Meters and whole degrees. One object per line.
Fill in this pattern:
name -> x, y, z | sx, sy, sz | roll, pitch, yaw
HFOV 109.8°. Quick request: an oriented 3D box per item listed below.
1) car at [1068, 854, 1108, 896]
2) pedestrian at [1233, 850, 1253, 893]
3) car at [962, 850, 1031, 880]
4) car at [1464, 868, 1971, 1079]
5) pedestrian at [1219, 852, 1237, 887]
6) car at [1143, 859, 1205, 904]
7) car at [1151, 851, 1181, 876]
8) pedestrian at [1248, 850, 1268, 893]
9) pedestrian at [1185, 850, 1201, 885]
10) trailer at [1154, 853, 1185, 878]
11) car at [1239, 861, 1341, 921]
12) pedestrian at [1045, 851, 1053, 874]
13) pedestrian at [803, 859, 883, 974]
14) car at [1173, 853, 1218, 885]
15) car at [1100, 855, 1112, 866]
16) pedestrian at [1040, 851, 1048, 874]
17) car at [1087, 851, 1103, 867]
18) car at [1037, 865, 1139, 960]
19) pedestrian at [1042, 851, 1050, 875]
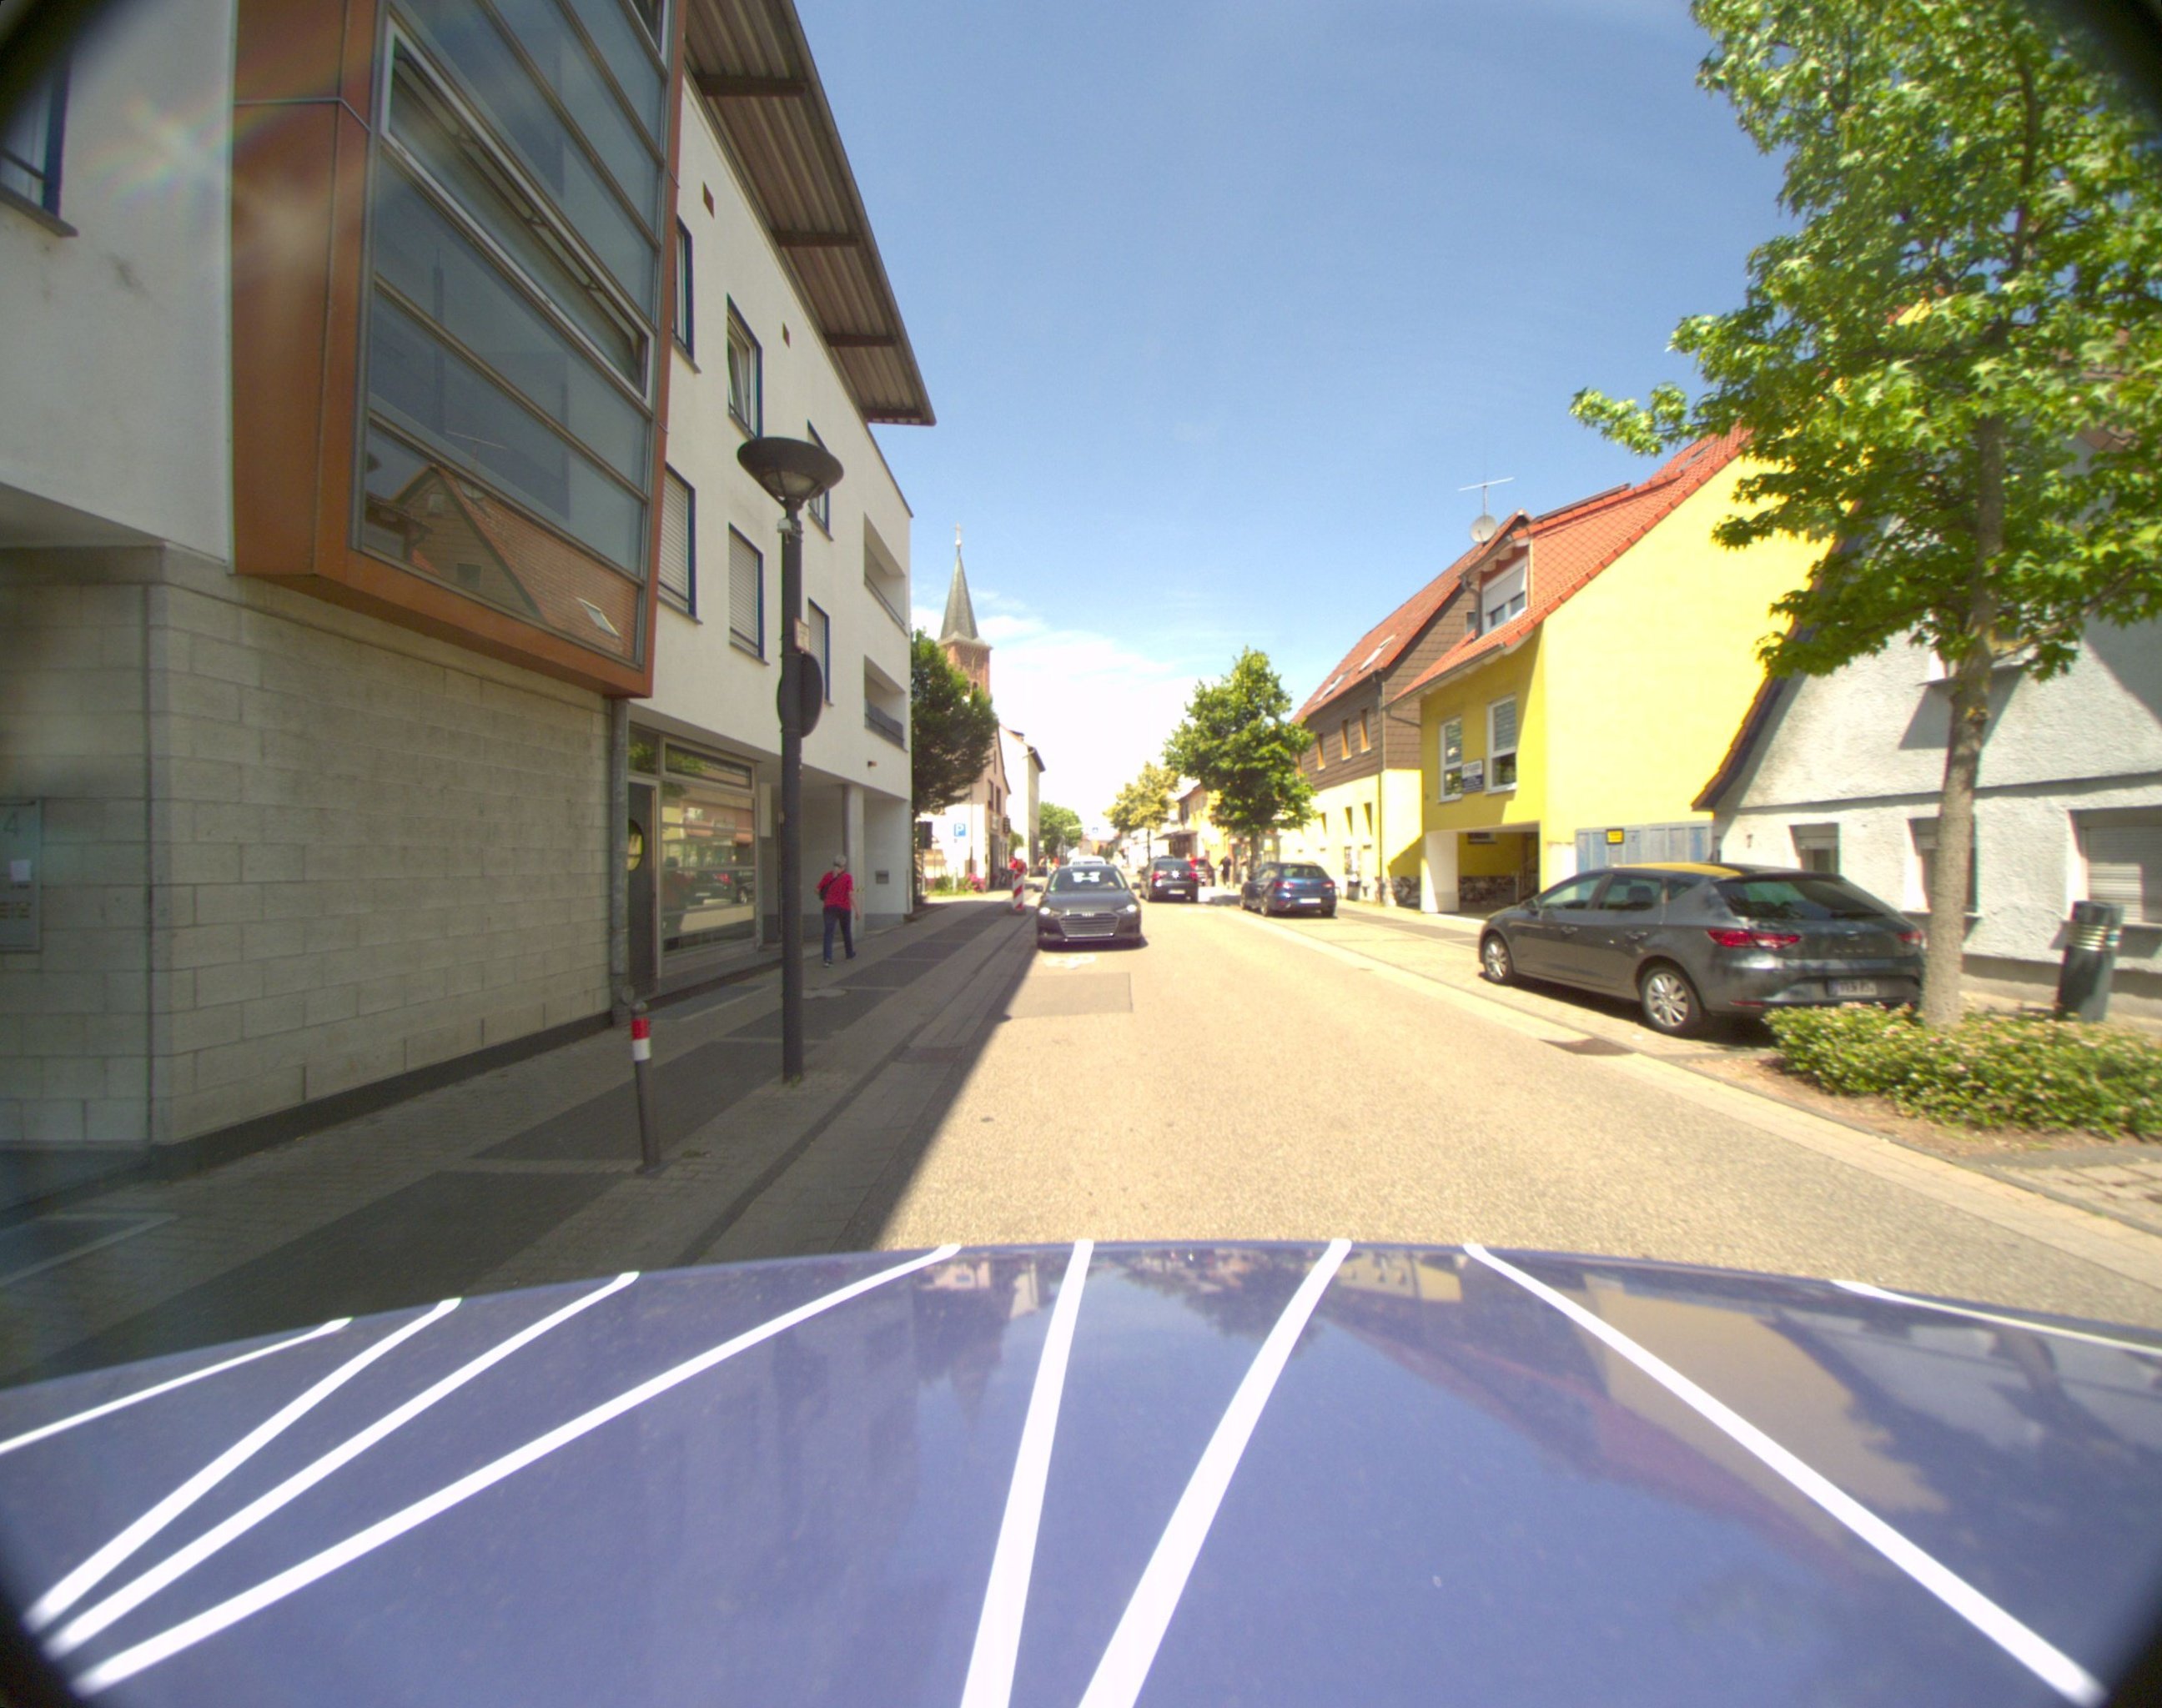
car -> 0.287, 0.816, 31.863 | 1.581, 1.620, 4.065 | 0, 0, 0
pedestrian -> 6.084, 0.651, 28.573 | 0.631, 1.592, 0.528 | -1, 1, 1
car -> -5.423, 0.703, 49.125 | 4.203, 1.849, 2.000 | 0, 0, 0
car -> 5.669, 0.913, 7.585 | 1.649, 1.422, 4.099 | -1, 0, 1
pedestrian -> 6.619, 0.692, 34.270 | 0.663, 1.592, 0.771 | -1, 1, 1
car -> 3.179, 0.905, 26.660 | 1.693, 1.464, 4.000 | 0, 0, 0
car -> 6.298, 0.679, 56.697 | 1.695, 1.742, 3.999 | -3, 0, -1
pedestrian -> 6.758, 0.664, 29.048 | 0.631, 1.592, 0.528 | -1, 1, 1
pedestrian -> 5.314, 0.625, 36.088 | 0.643, 1.645, 0.624 | 0, 1, 1
trailer -> 6.100, 0.767, 52.443 | 1.493, 1.571, 3.883 | -3, 0, -2
car -> 5.520, 0.930, 20.531 | 1.660, 1.399, 4.158 | -1, 0, 1
pedestrian -> -2.574, 0.675, 60.975 | 0.581, 1.875, 0.695 | 0, 1, 3
pedestrian -> -3.476, 0.887, 11.188 | 0.825, 1.579, 0.919 | 2, 1, 1
car -> 5.921, 0.755, 39.728 | 1.753, 1.566, 4.158 | -1, 0, 1
car -> 4.351, 1.156, 132.945 | 1.695, 1.761, 3.999 | -4, 0, -1
pedestrian -> -3.043, 0.714, 62.224 | 0.581, 1.875, 0.695 | 0, 1, 3
car -> 1.390, 0.535, 78.051 | 1.581, 1.620, 4.065 | 0, 0, 0
car -> 0.126, 0.976, 14.366 | 1.581, 1.424, 4.065 | -3, 0, 0
pedestrian -> -2.747, 0.702, 59.619 | 0.581, 1.875, 0.695 | 0, 1, 3
